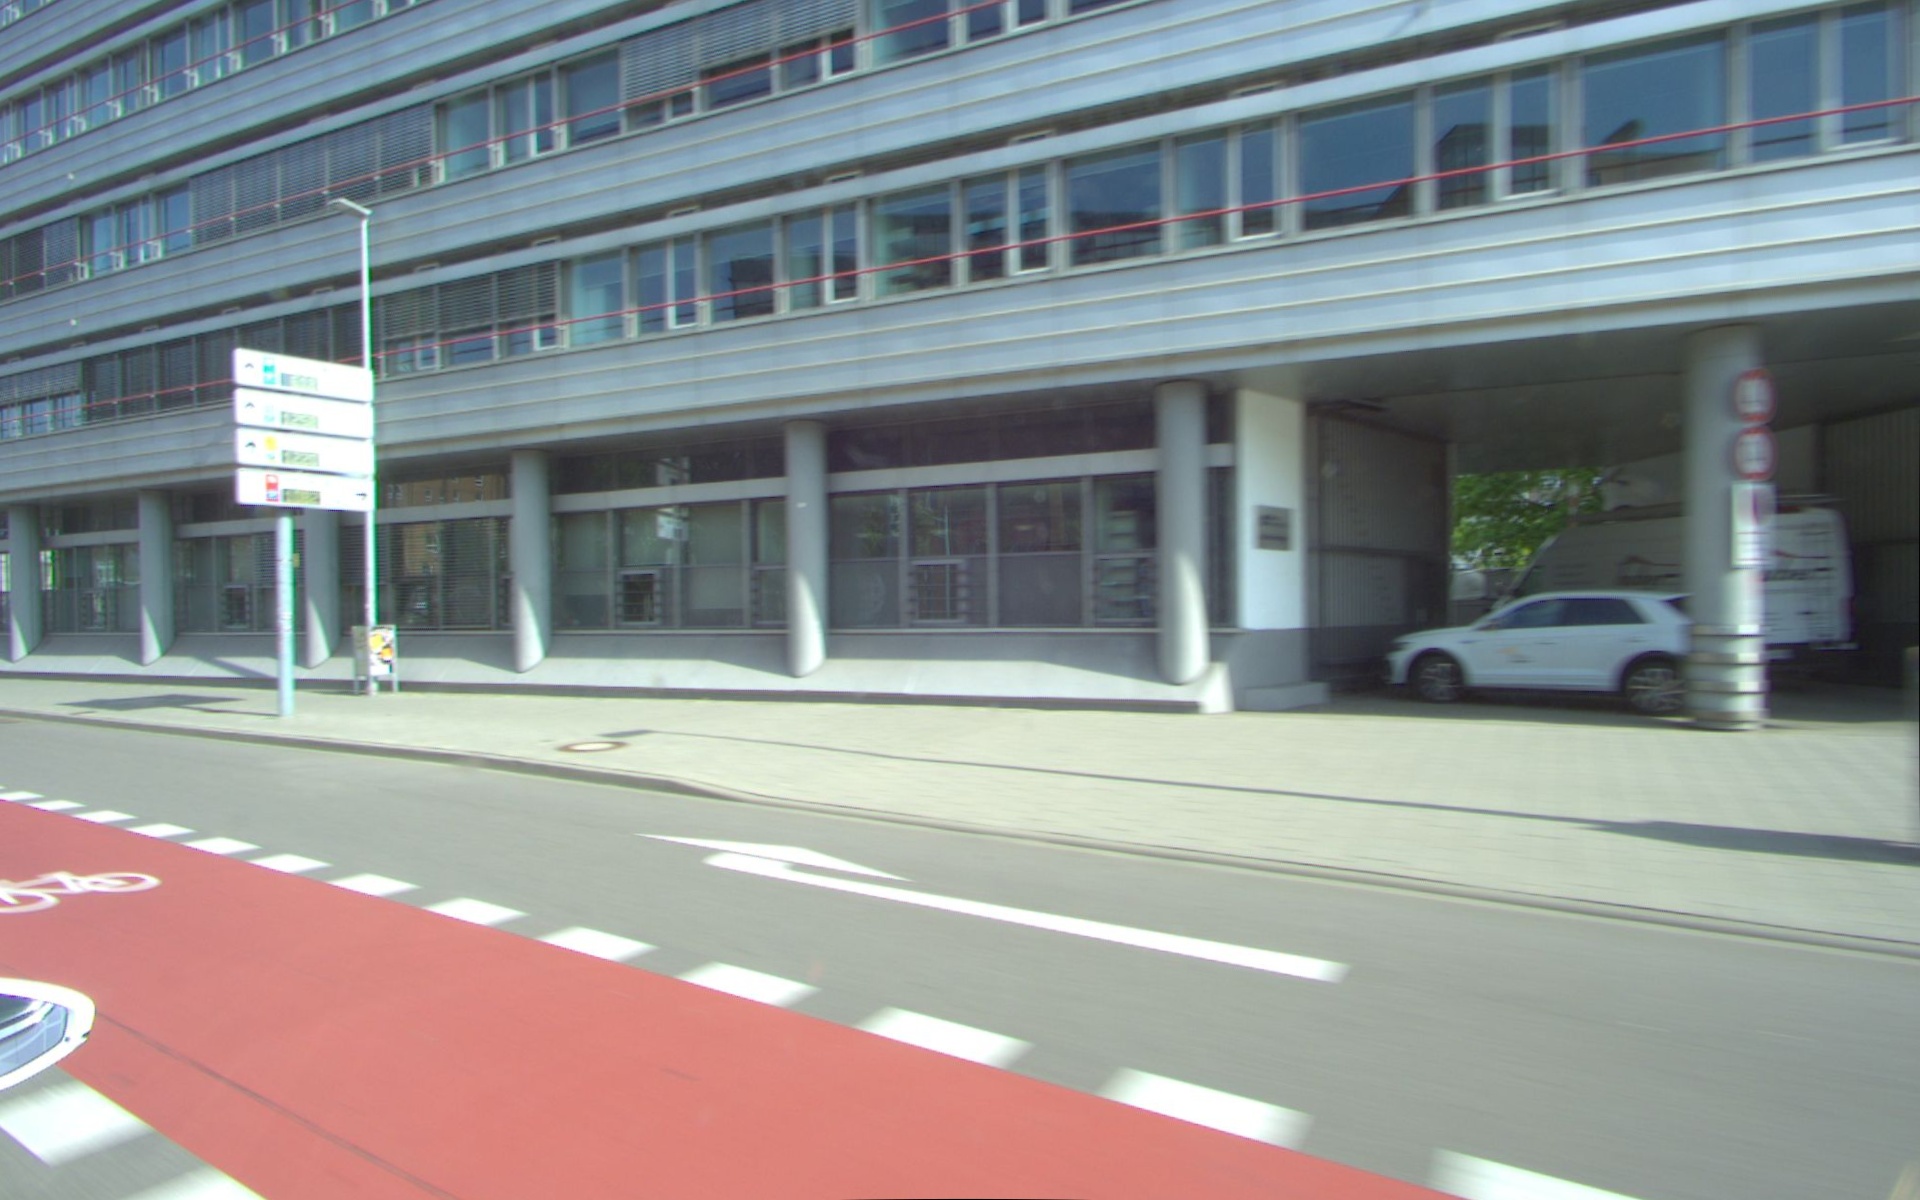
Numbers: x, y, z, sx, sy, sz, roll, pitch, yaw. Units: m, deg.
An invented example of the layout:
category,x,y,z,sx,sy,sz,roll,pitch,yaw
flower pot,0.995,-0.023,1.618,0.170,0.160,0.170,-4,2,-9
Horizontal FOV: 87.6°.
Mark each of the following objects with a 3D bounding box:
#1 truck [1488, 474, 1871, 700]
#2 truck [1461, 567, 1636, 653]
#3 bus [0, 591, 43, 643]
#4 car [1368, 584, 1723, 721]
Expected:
category,x,y,z,sx,sy,sz,roll,pitch,yaw
truck,11.824,-0.308,17.285,1.961,3.140,6.146,-2,3,-3
truck,14.163,0.246,24.194,1.735,1.924,3.319,0,0,-43
bus,-74.179,1.225,68.334,2.816,3.859,17.627,-2,-1,21
car,7.888,0.610,13.692,3.953,1.610,1.736,0,0,41
